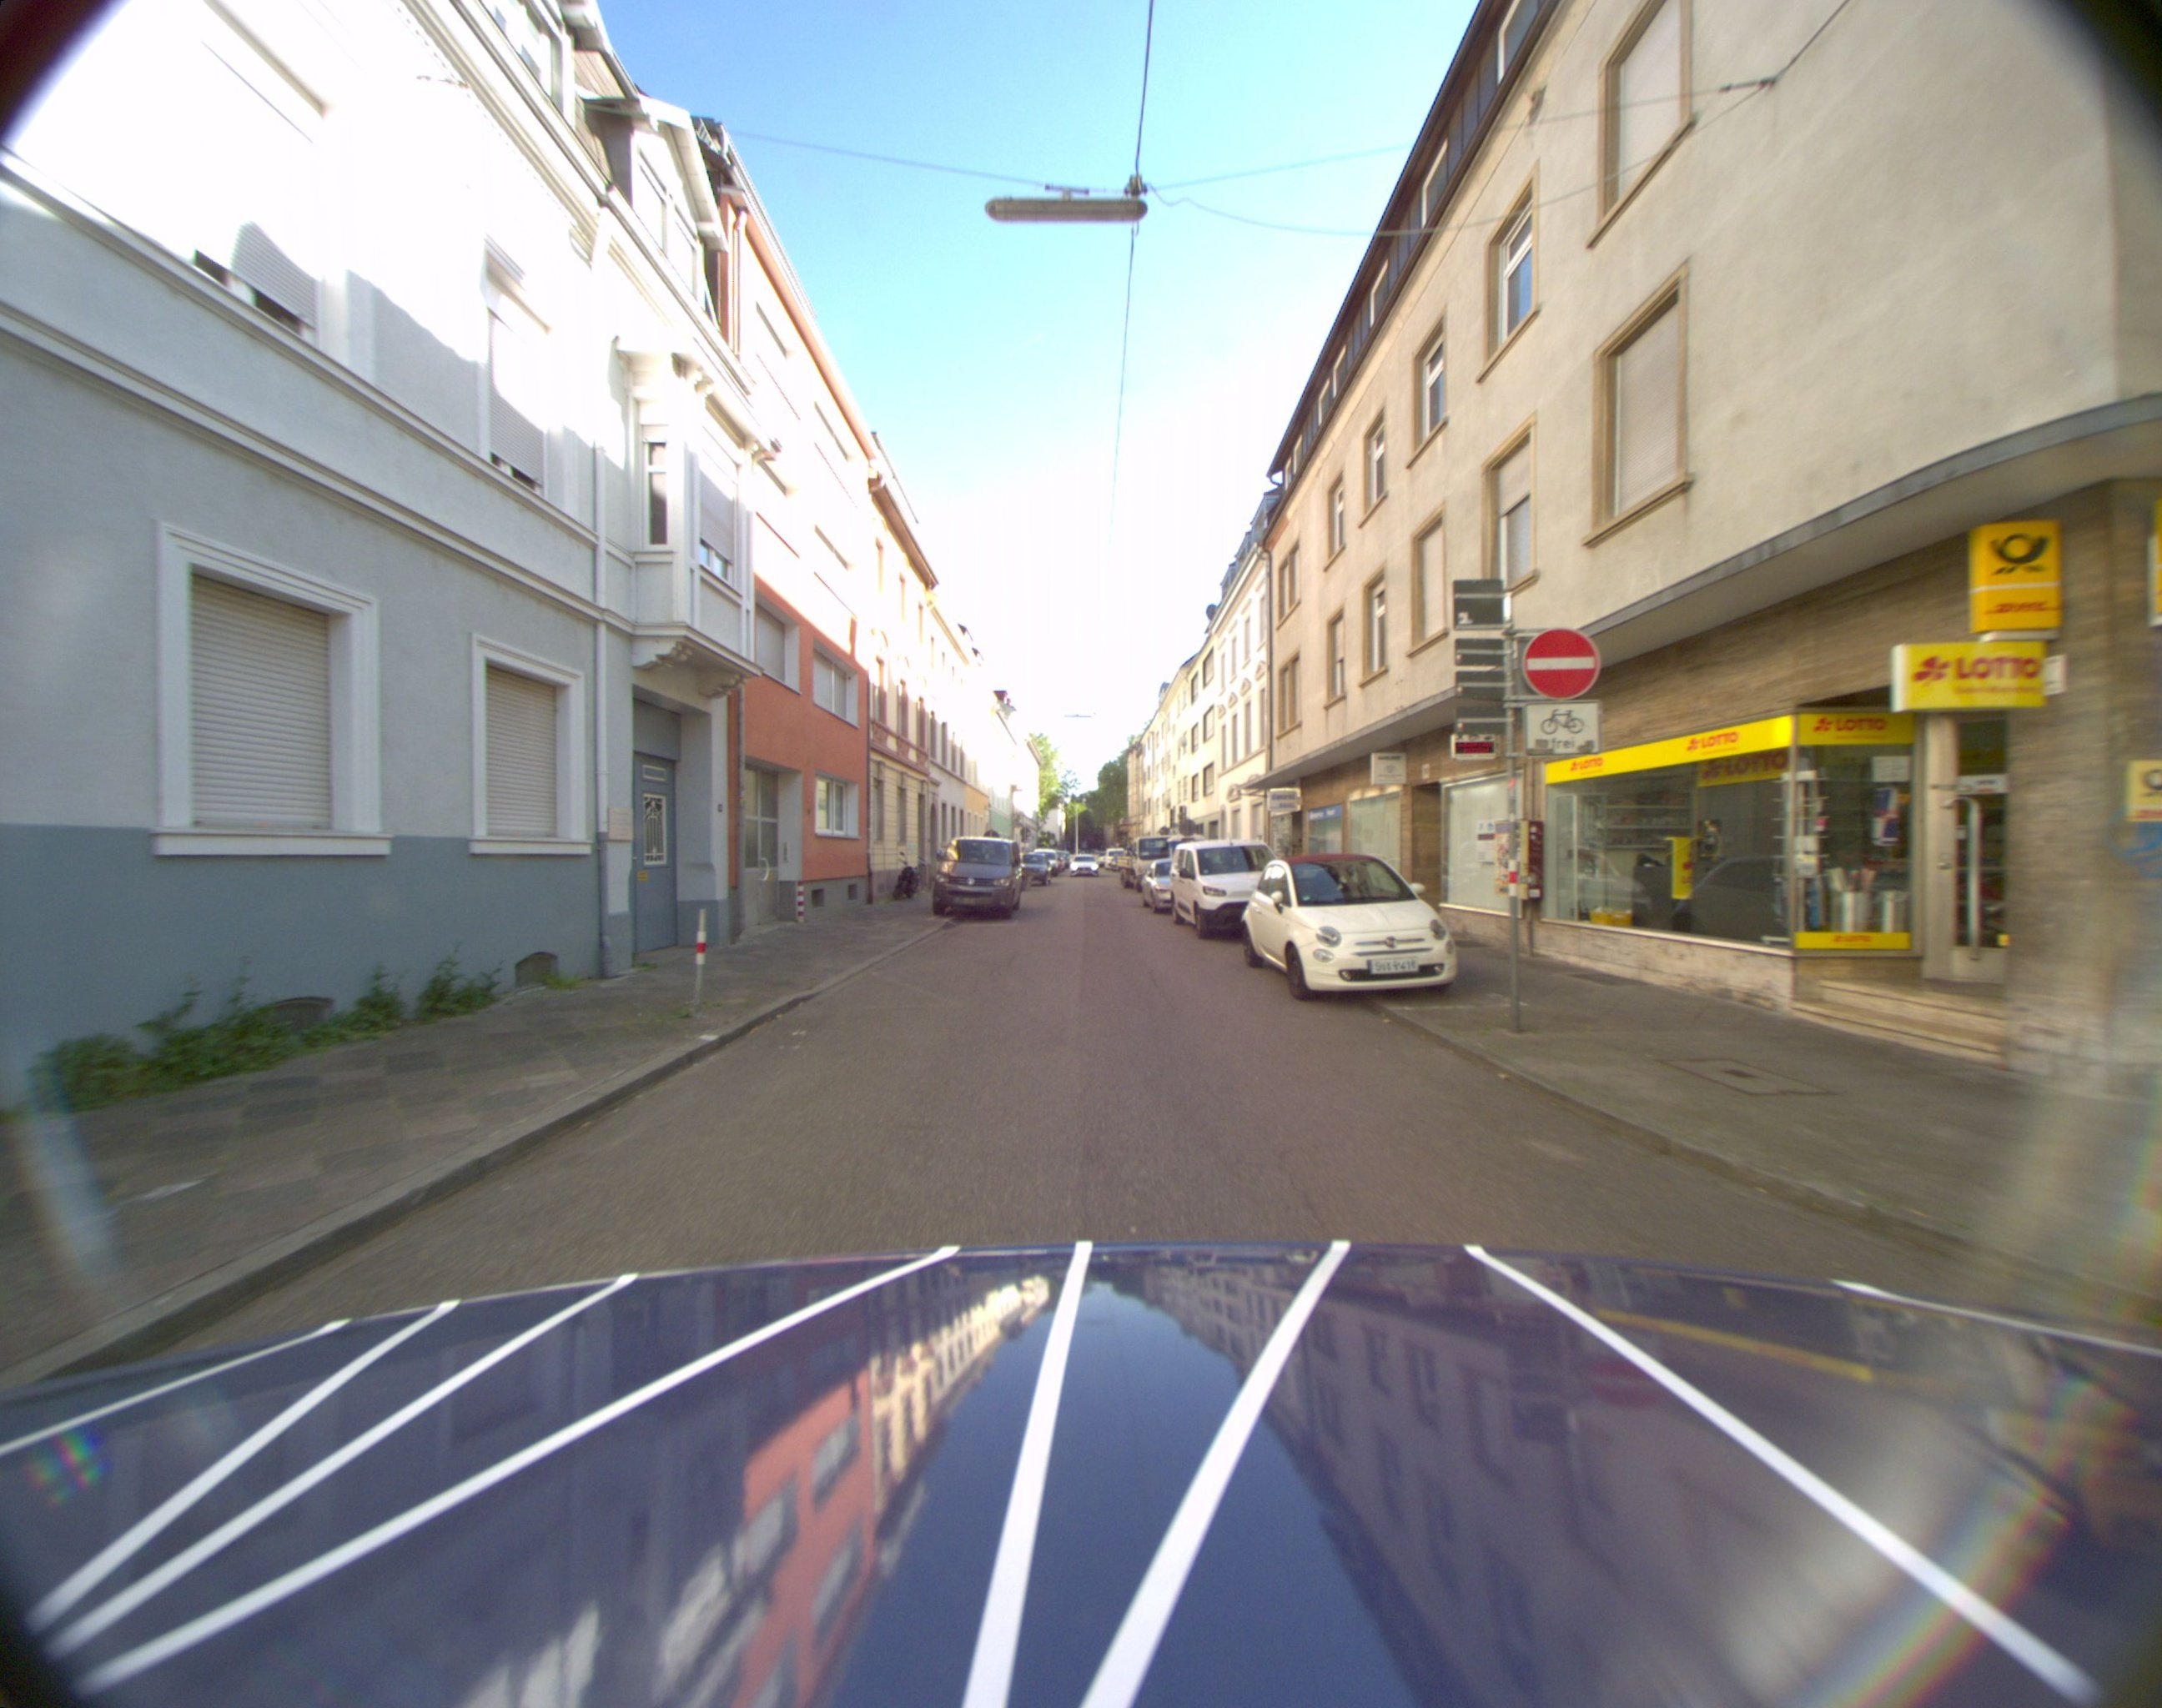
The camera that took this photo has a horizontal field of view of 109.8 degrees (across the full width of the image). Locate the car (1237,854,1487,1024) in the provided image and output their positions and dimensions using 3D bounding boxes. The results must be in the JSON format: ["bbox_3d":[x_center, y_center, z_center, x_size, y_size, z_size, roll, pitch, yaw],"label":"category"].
[{"bbox_3d":[3.031,0.808,9.034,1.671,1.551,3.722,0,1,1],"label":"car"}]

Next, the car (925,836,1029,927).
[{"bbox_3d":[-2.539,0.593,19.768,1.975,2.017,4.898,-2,1,0],"label":"car"}]

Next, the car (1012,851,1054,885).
[{"bbox_3d":[-2.309,0.645,37.442,1.744,1.534,4.050,0,2,1],"label":"car"}]

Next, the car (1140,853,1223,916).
[{"bbox_3d":[2.690,0.768,21.256,1.669,1.514,4.488,1,0,0],"label":"car"}]

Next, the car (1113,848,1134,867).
[{"bbox_3d":[3.552,0.260,63.999,1.730,1.484,4.114,-1,1,2],"label":"car"}]

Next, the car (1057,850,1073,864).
[{"bbox_3d":[-1.731,0.270,81.163,1.588,1.409,3.557,0,2,1],"label":"car"}]

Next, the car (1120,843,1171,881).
[{"bbox_3d":[3.379,0.373,40.905,1.918,1.871,5.182,2,1,-4],"label":"car"}]

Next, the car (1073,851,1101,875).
[{"bbox_3d":[0.386,0.560,49.633,1.761,1.399,4.021,0,1,1],"label":"car"}]

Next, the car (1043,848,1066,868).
[{"bbox_3d":[-2.049,0.313,59.822,1.578,1.460,3.869,0,0,1],"label":"car"}]

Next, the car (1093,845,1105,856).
[{"bbox_3d":[2.784,-0.552,119.840,1.786,1.674,4.021,0,2,1],"label":"car"}]

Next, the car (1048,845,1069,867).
[{"bbox_3d":[-1.917,0.146,65.517,1.604,1.772,3.759,0,1,1],"label":"car"}]

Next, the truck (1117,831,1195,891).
[{"bbox_3d":[3.047,0.203,32.611,2.171,2.296,6.343,1,1,-5],"label":"truck"}]

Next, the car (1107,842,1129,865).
[{"bbox_3d":[3.414,-0.090,70.501,1.913,2.076,4.696,0,1,1],"label":"car"}]

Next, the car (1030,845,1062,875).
[{"bbox_3d":[-2.288,0.342,50.547,1.898,1.875,4.457,0,2,1],"label":"car"}]

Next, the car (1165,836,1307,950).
[{"bbox_3d":[2.886,0.642,15.251,1.771,1.888,4.808,1,1,-1],"label":"car"}]

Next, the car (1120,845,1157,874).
[{"bbox_3d":[3.649,0.312,48.951,1.759,1.760,4.176,1,1,-4],"label":"car"}]

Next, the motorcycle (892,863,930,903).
[{"bbox_3d":[-5.072,0.843,22.839,0.638,1.038,2.362,0,2,-1],"label":"motorcycle"}]

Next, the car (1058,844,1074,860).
[{"bbox_3d":[-1.846,-0.243,92.515,1.786,1.868,4.021,0,2,1],"label":"car"}]

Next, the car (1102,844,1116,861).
[{"bbox_3d":[3.288,-0.188,90.197,1.585,1.971,4.067,0,2,1],"label":"car"}]

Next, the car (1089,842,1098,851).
[{"bbox_3d":[2.634,-1.595,159.522,1.985,1.674,4.021,0,2,1],"label":"car"}]
